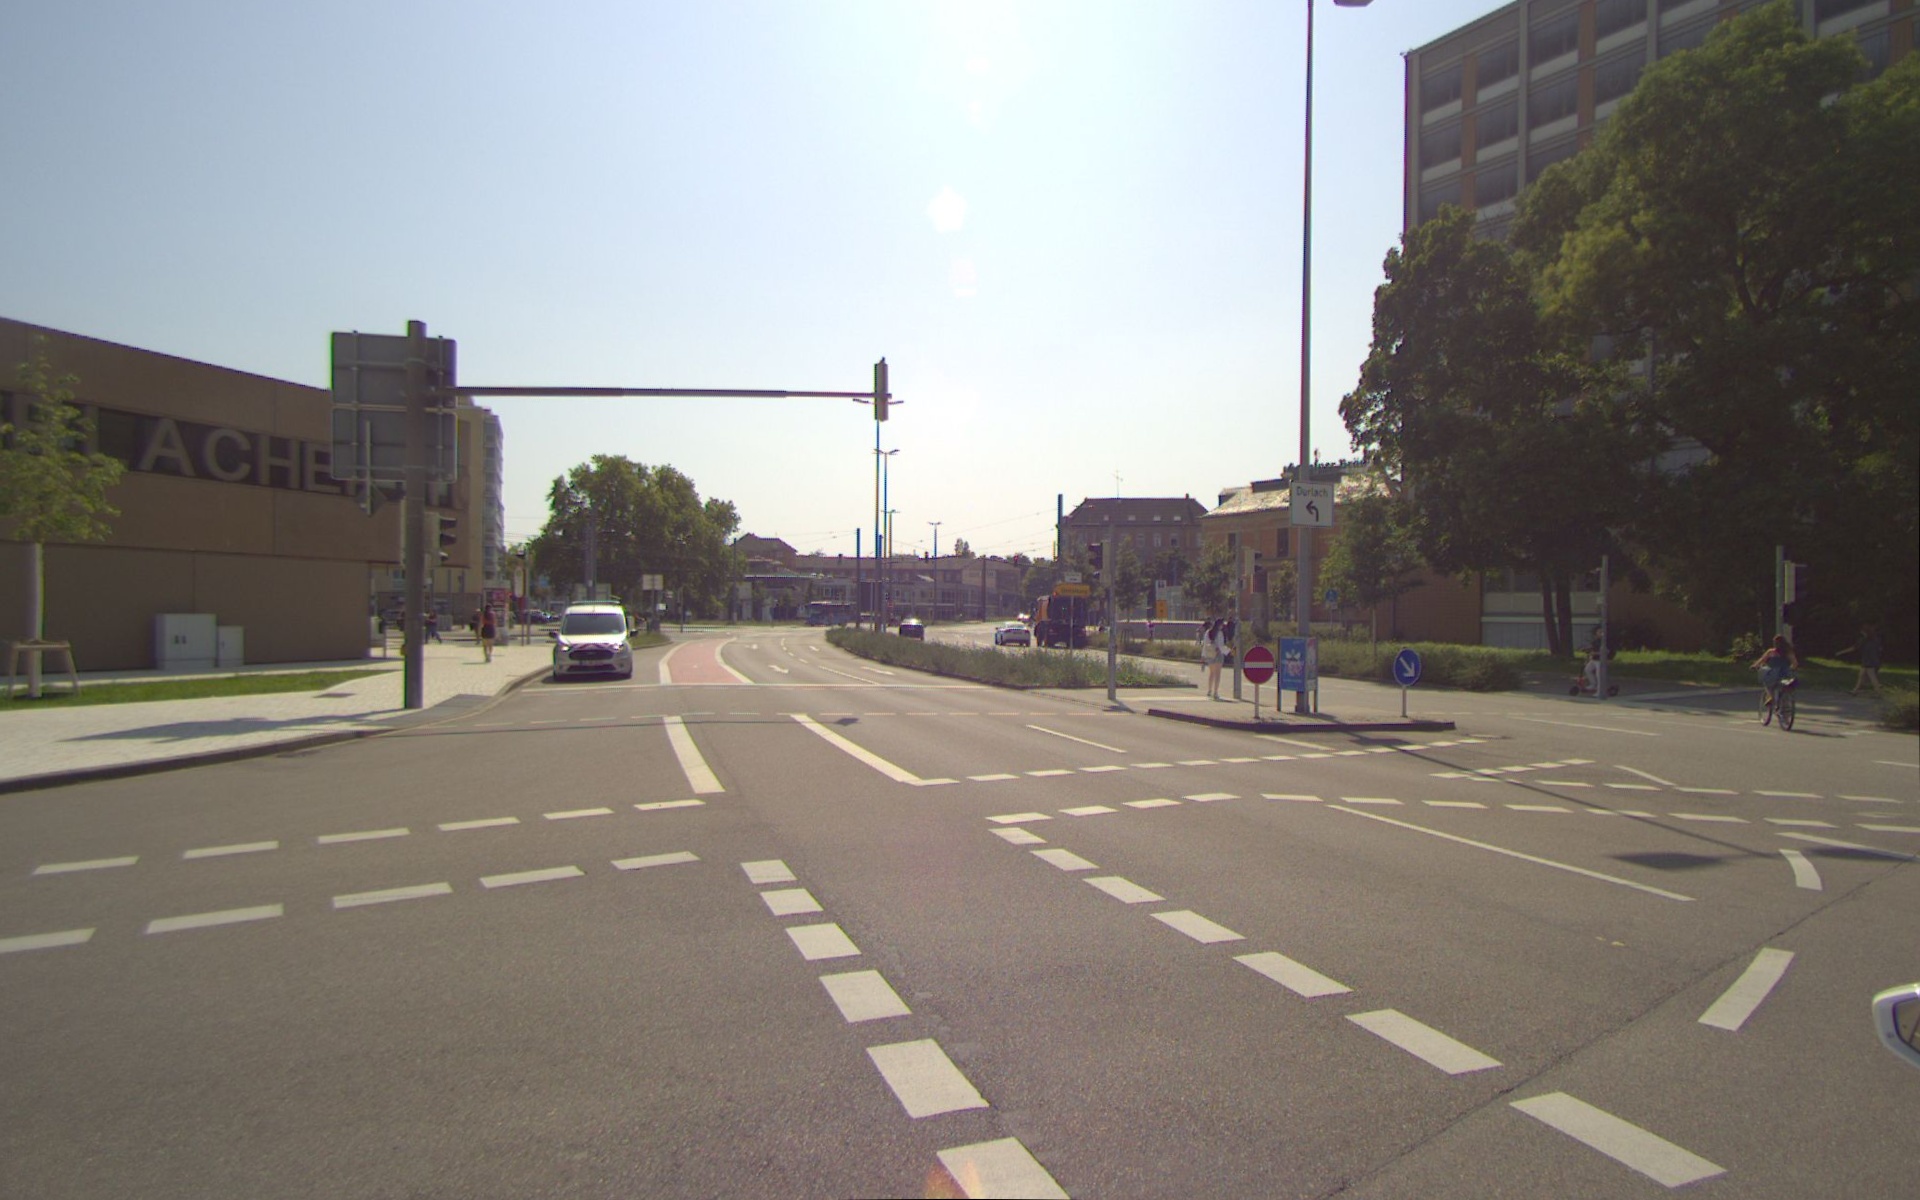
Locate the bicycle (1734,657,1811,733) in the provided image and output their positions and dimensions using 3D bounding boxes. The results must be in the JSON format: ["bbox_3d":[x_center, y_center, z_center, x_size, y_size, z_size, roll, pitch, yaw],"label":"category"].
[{"bbox_3d":[14.836,1.698,18.400,0.683,1.170,2.367,-1,0,29],"label":"bicycle"}]

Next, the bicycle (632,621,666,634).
[{"bbox_3d":[-22.951,2.031,74.125,2.383,0.966,0.600,1,-1,-24],"label":"bicycle"}]

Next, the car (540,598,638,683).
[{"bbox_3d":[-9.215,0.940,25.238,1.967,1.884,4.319,-2,0,-17],"label":"car"}]

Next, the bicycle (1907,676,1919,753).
[{"bbox_3d":[13.841,1.650,13.964,0.548,1.074,2.000,1,-1,31],"label":"bicycle"}]

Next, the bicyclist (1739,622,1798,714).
[{"bbox_3d":[14.890,1.230,18.523,0.680,1.620,0.842,-1,0,29],"label":"bicyclist"}]

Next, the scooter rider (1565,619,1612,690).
[{"bbox_3d":[15.983,1.375,25.560,0.789,1.762,0.689,0,0,7],"label":"scooter rider"}]

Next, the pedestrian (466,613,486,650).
[{"bbox_3d":[-22.911,1.475,47.573,0.635,1.725,0.808,1,-1,-10],"label":"pedestrian"}]

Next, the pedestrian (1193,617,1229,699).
[{"bbox_3d":[5.390,1.229,21.595,0.596,1.717,0.700,0,0,-2],"label":"pedestrian"}]

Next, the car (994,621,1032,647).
[{"bbox_3d":[3.284,2.069,62.773,1.730,1.474,4.422,2,-1,-5],"label":"car"}]

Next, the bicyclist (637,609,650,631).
[{"bbox_3d":[-23.330,1.478,73.963,0.829,1.664,0.603,1,0,-24],"label":"bicyclist"}]

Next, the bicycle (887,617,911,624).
[{"bbox_3d":[-7.456,2.503,122.923,2.904,0.737,0.859,1,-1,-25],"label":"bicycle"}]

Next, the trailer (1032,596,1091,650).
[{"bbox_3d":[6.202,1.391,62.322,2.424,3.047,6.321,2,-1,-4],"label":"trailer"}]

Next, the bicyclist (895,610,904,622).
[{"bbox_3d":[-7.390,1.932,122.951,0.894,1.521,0.860,1,-1,-24],"label":"bicyclist"}]

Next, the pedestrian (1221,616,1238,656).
[{"bbox_3d":[13.835,1.830,51.584,0.764,1.999,0.754,1,0,9],"label":"pedestrian"}]

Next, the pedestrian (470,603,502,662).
[{"bbox_3d":[-13.966,0.947,29.631,0.616,1.725,0.786,1,-1,-8],"label":"pedestrian"}]

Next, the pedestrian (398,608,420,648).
[{"bbox_3d":[-21.894,1.102,39.908,0.482,1.558,0.572,0,-1,20],"label":"pedestrian"}]

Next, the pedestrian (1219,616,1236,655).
[{"bbox_3d":[13.968,1.854,52.515,0.764,1.999,0.754,1,0,9],"label":"pedestrian"}]

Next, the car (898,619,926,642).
[{"bbox_3d":[-3.169,2.023,67.301,1.729,1.423,3.980,2,-1,-2],"label":"car"}]

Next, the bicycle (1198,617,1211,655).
[{"bbox_3d":[12.580,1.840,51.710,0.447,1.885,1.364,1,0,6],"label":"bicycle"}]

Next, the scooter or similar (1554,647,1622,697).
[{"bbox_3d":[16.001,1.832,25.607,1.340,1.251,0.586,0,0,7],"label":"scooter or similar"}]

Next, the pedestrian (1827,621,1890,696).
[{"bbox_3d":[21.358,1.377,23.896,0.696,1.727,0.876,-1,0,-17],"label":"pedestrian"}]

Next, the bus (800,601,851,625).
[{"bbox_3d":[-17.473,1.708,131.541,3.001,2.970,11.860,1,-1,11],"label":"bus"}]
